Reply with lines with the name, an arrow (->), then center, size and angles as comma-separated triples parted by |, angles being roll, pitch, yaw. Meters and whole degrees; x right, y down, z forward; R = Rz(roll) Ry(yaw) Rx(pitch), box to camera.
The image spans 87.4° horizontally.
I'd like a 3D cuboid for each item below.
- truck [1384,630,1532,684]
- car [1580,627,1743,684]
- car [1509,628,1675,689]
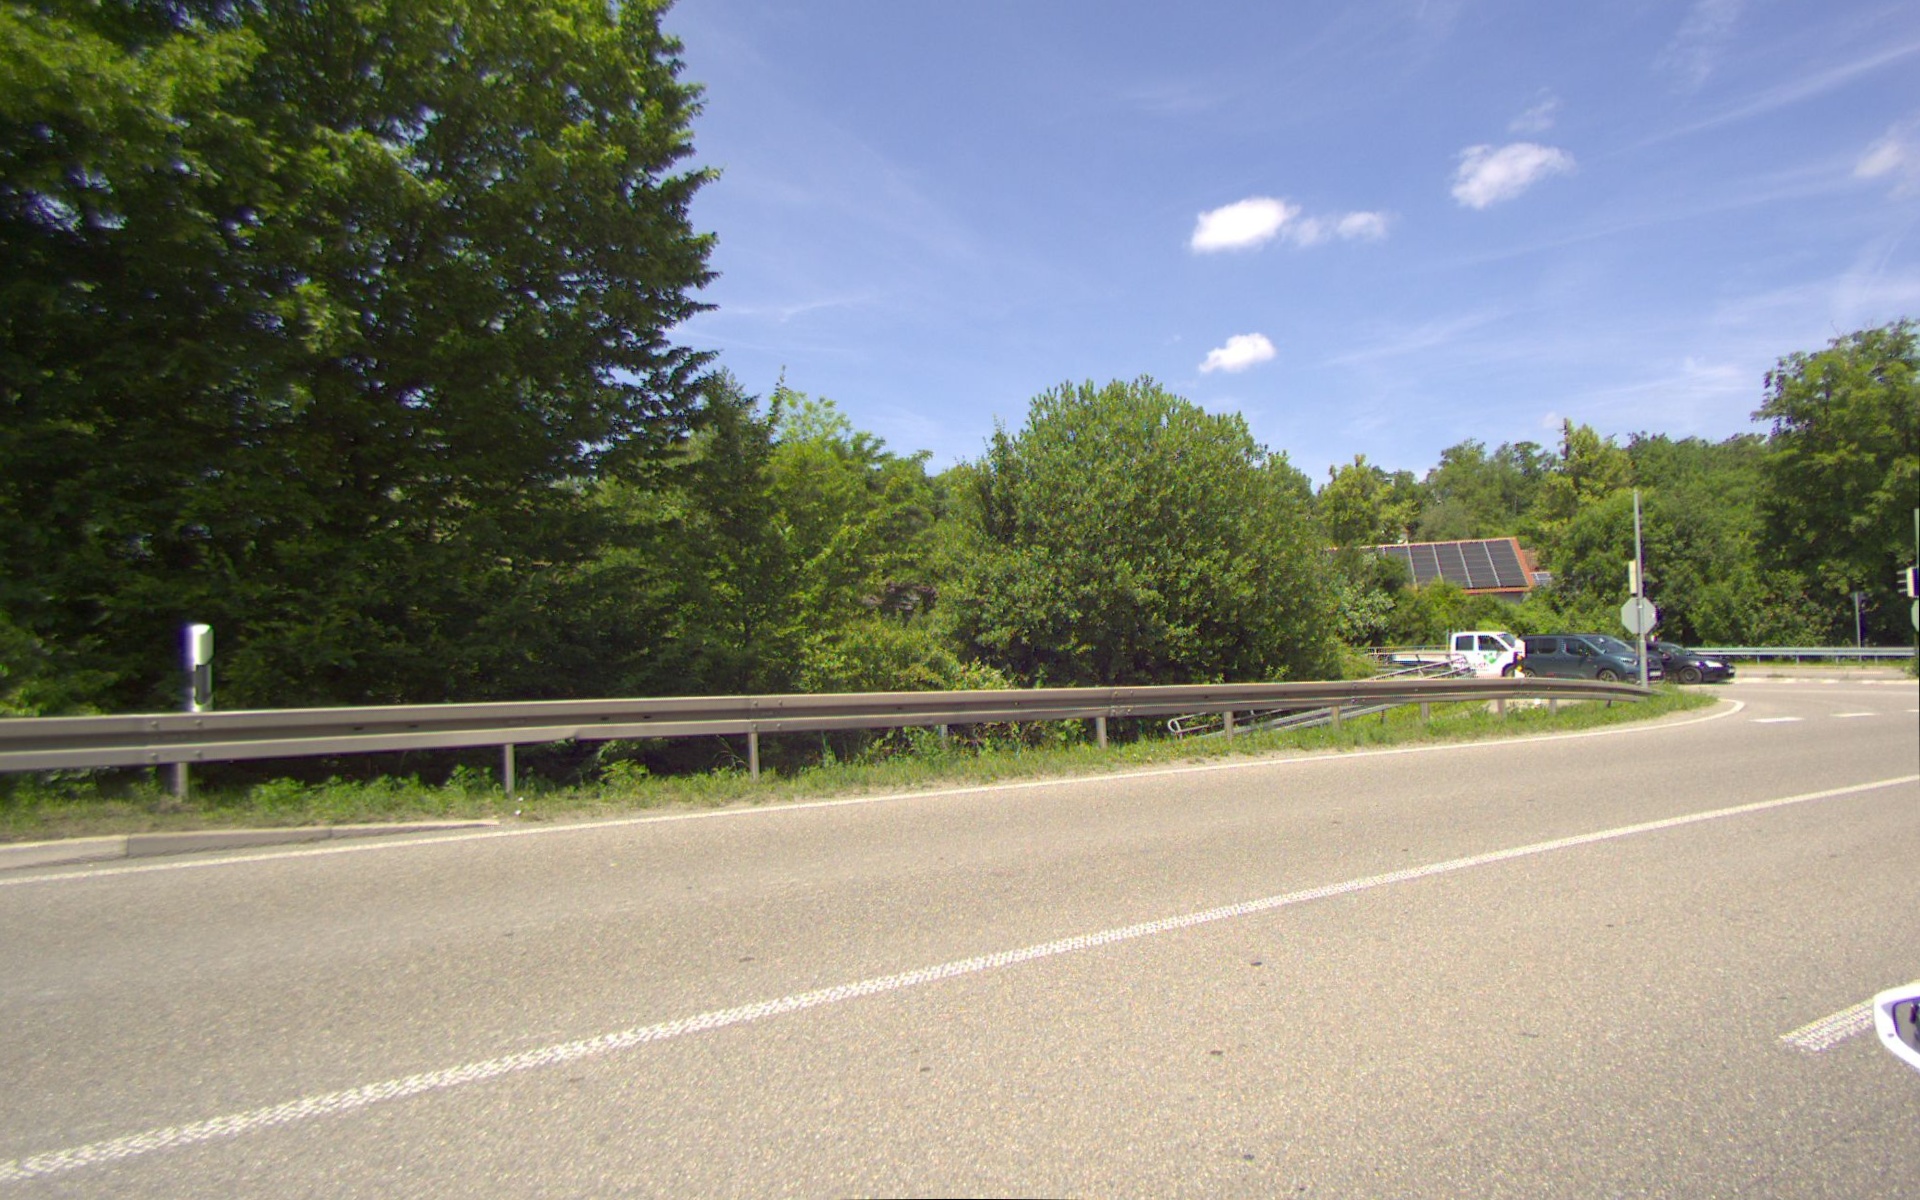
truck -> 19.595, 2.206, 39.674 | 2.028, 1.815, 4.832 | 4, -2, -41
car -> 23.779, 1.848, 34.243 | 1.970, 1.793, 4.229 | 2, -2, -20
car -> 20.182, 1.823, 32.309 | 1.970, 1.793, 4.229 | 2, -2, -20
